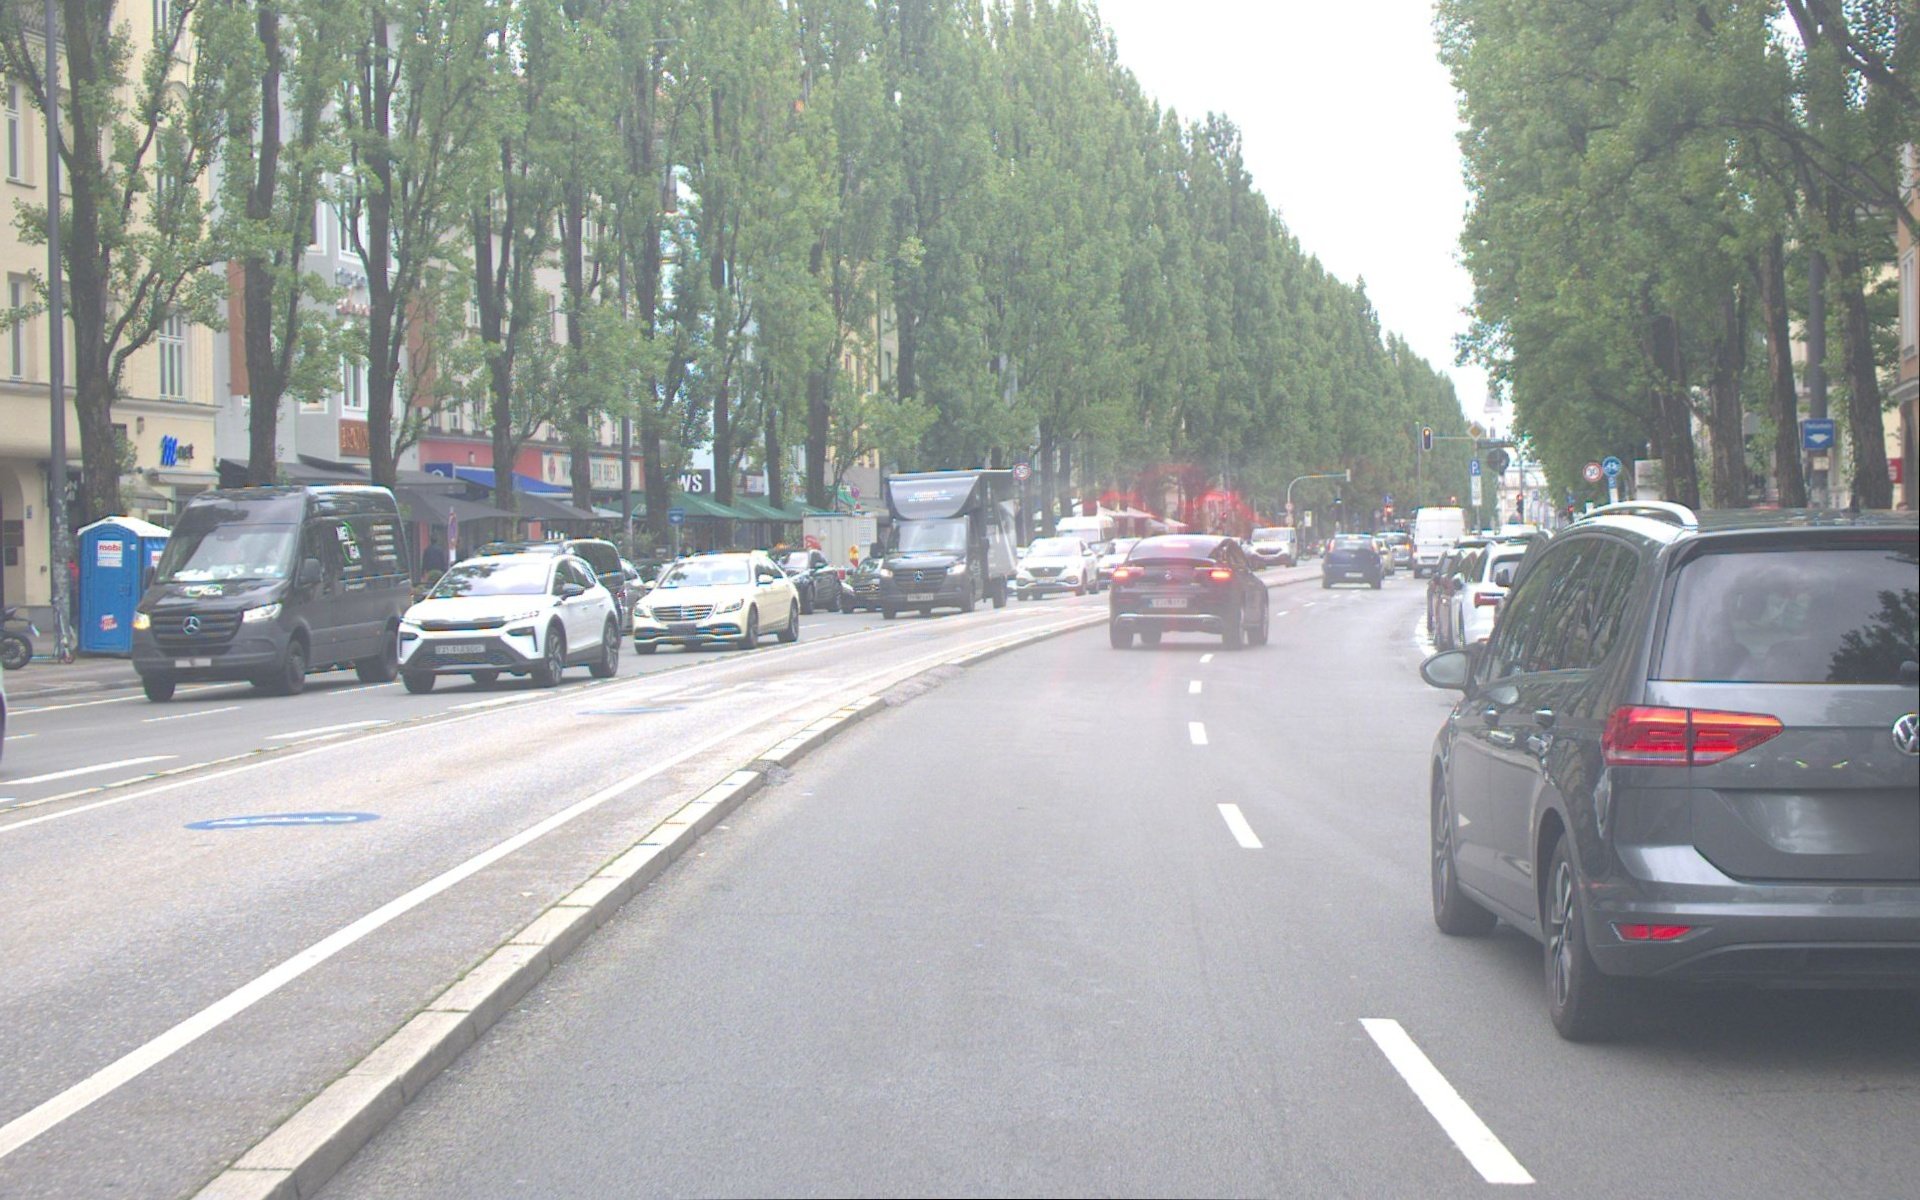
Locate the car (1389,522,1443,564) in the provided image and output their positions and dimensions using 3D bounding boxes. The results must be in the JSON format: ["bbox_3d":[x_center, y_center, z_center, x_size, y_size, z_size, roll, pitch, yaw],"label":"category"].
[{"bbox_3d":[19.792,-2.479,149.051,1.994,1.711,3.998,-2,1,11],"label":"car"}]

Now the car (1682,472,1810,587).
[{"bbox_3d":[16.844,-1.524,73.509,1.903,2.320,4.820,-1,1,21],"label":"car"}]

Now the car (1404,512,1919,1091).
[{"bbox_3d":[2.631,0.523,11.632,1.761,1.608,4.184,0,1,1],"label":"car"}]

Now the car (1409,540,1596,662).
[{"bbox_3d":[6.961,-0.023,44.532,1.931,1.445,4.804,-1,1,4],"label":"car"}]

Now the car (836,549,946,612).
[{"bbox_3d":[-1.658,-0.495,84.142,1.940,1.429,4.537,-2,1,8],"label":"car"}]

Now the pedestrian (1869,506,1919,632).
[{"bbox_3d":[14.227,-0.471,51.823,0.817,1.863,0.938,-2,1,6],"label":"pedestrian"}]

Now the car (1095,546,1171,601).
[{"bbox_3d":[5.607,-0.872,110.896,1.940,1.636,4.462,-2,1,9],"label":"car"}]

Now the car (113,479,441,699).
[{"bbox_3d":[-8.650,-0.191,44.229,2.170,2.596,6.062,-1,1,8],"label":"car"}]

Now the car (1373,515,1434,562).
[{"bbox_3d":[17.060,-2.386,132.141,1.994,1.711,3.998,-2,1,11],"label":"car"}]

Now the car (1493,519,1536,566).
[{"bbox_3d":[23.828,-2.466,147.635,1.805,1.985,3.998,0,0,9],"label":"car"}]

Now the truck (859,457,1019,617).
[{"bbox_3d":[-0.384,-1.421,76.550,2.292,3.311,7.155,-2,1,9],"label":"truck"}]

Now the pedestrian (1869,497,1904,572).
[{"bbox_3d":[20.067,-1.418,74.447,0.673,1.607,0.640,-1,1,12],"label":"pedestrian"}]

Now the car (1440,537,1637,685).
[{"bbox_3d":[6.411,0.070,38.519,1.811,1.495,4.805,-2,1,6],"label":"car"}]

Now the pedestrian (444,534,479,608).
[{"bbox_3d":[-12.555,-0.732,86.556,0.638,1.855,0.647,-2,1,10],"label":"pedestrian"}]

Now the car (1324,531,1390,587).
[{"bbox_3d":[11.802,-1.217,102.027,1.760,1.614,3.745,0,0,9],"label":"car"}]

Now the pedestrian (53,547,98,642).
[{"bbox_3d":[-16.489,-0.108,64.093,0.539,1.741,0.755,0,1,9],"label":"pedestrian"}]

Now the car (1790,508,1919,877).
[{"bbox_3d":[5.240,0.414,15.988,1.727,1.680,4.408,0,1,0],"label":"car"}]

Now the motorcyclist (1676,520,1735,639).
[{"bbox_3d":[8.920,-0.251,41.163,0.564,1.401,0.766,-2,1,6],"label":"motorcyclist"}]

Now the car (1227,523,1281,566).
[{"bbox_3d":[13.824,-2.597,161.821,1.993,2.007,4.000,0,0,-3],"label":"car"}]

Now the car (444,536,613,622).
[{"bbox_3d":[-8.100,-0.419,64.884,1.940,1.488,4.294,-1,1,10],"label":"car"}]

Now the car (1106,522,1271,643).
[{"bbox_3d":[3.344,-0.289,49.571,1.881,1.636,4.581,-1,1,10],"label":"car"}]

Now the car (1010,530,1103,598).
[{"bbox_3d":[2.651,-0.991,93.211,1.861,1.705,4.534,-2,1,9],"label":"car"}]

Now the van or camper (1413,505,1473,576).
[{"bbox_3d":[17.534,-2.139,124.758,2.035,2.467,3.998,-1,0,9],"label":"van or camper"}]

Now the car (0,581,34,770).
[{"bbox_3d":[-8.183,0.621,23.868,1.799,1.389,4.690,-1,1,6],"label":"car"}]

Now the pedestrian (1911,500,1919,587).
[{"bbox_3d":[17.433,-1.023,61.218,0.604,1.545,0.715,-3,1,-18],"label":"pedestrian"}]

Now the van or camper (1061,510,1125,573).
[{"bbox_3d":[5.379,-2.377,138.481,1.994,2.450,4.250,-1,1,9],"label":"van or camper"}]

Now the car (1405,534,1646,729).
[{"bbox_3d":[5.257,0.257,32.479,1.925,1.694,4.649,0,0,5],"label":"car"}]

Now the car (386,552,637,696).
[{"bbox_3d":[-5.458,0.255,42.392,1.910,1.597,4.354,-1,1,9],"label":"car"}]

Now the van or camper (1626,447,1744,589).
[{"bbox_3d":[16.649,-1.876,79.144,2.461,3.101,4.713,-2,1,10],"label":"van or camper"}]

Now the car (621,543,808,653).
[{"bbox_3d":[-3.894,-0.070,55.515,1.994,1.583,5.194,-3,1,7],"label":"car"}]

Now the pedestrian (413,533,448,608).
[{"bbox_3d":[-13.317,-0.736,86.520,0.638,1.855,0.647,-2,1,10],"label":"pedestrian"}]
